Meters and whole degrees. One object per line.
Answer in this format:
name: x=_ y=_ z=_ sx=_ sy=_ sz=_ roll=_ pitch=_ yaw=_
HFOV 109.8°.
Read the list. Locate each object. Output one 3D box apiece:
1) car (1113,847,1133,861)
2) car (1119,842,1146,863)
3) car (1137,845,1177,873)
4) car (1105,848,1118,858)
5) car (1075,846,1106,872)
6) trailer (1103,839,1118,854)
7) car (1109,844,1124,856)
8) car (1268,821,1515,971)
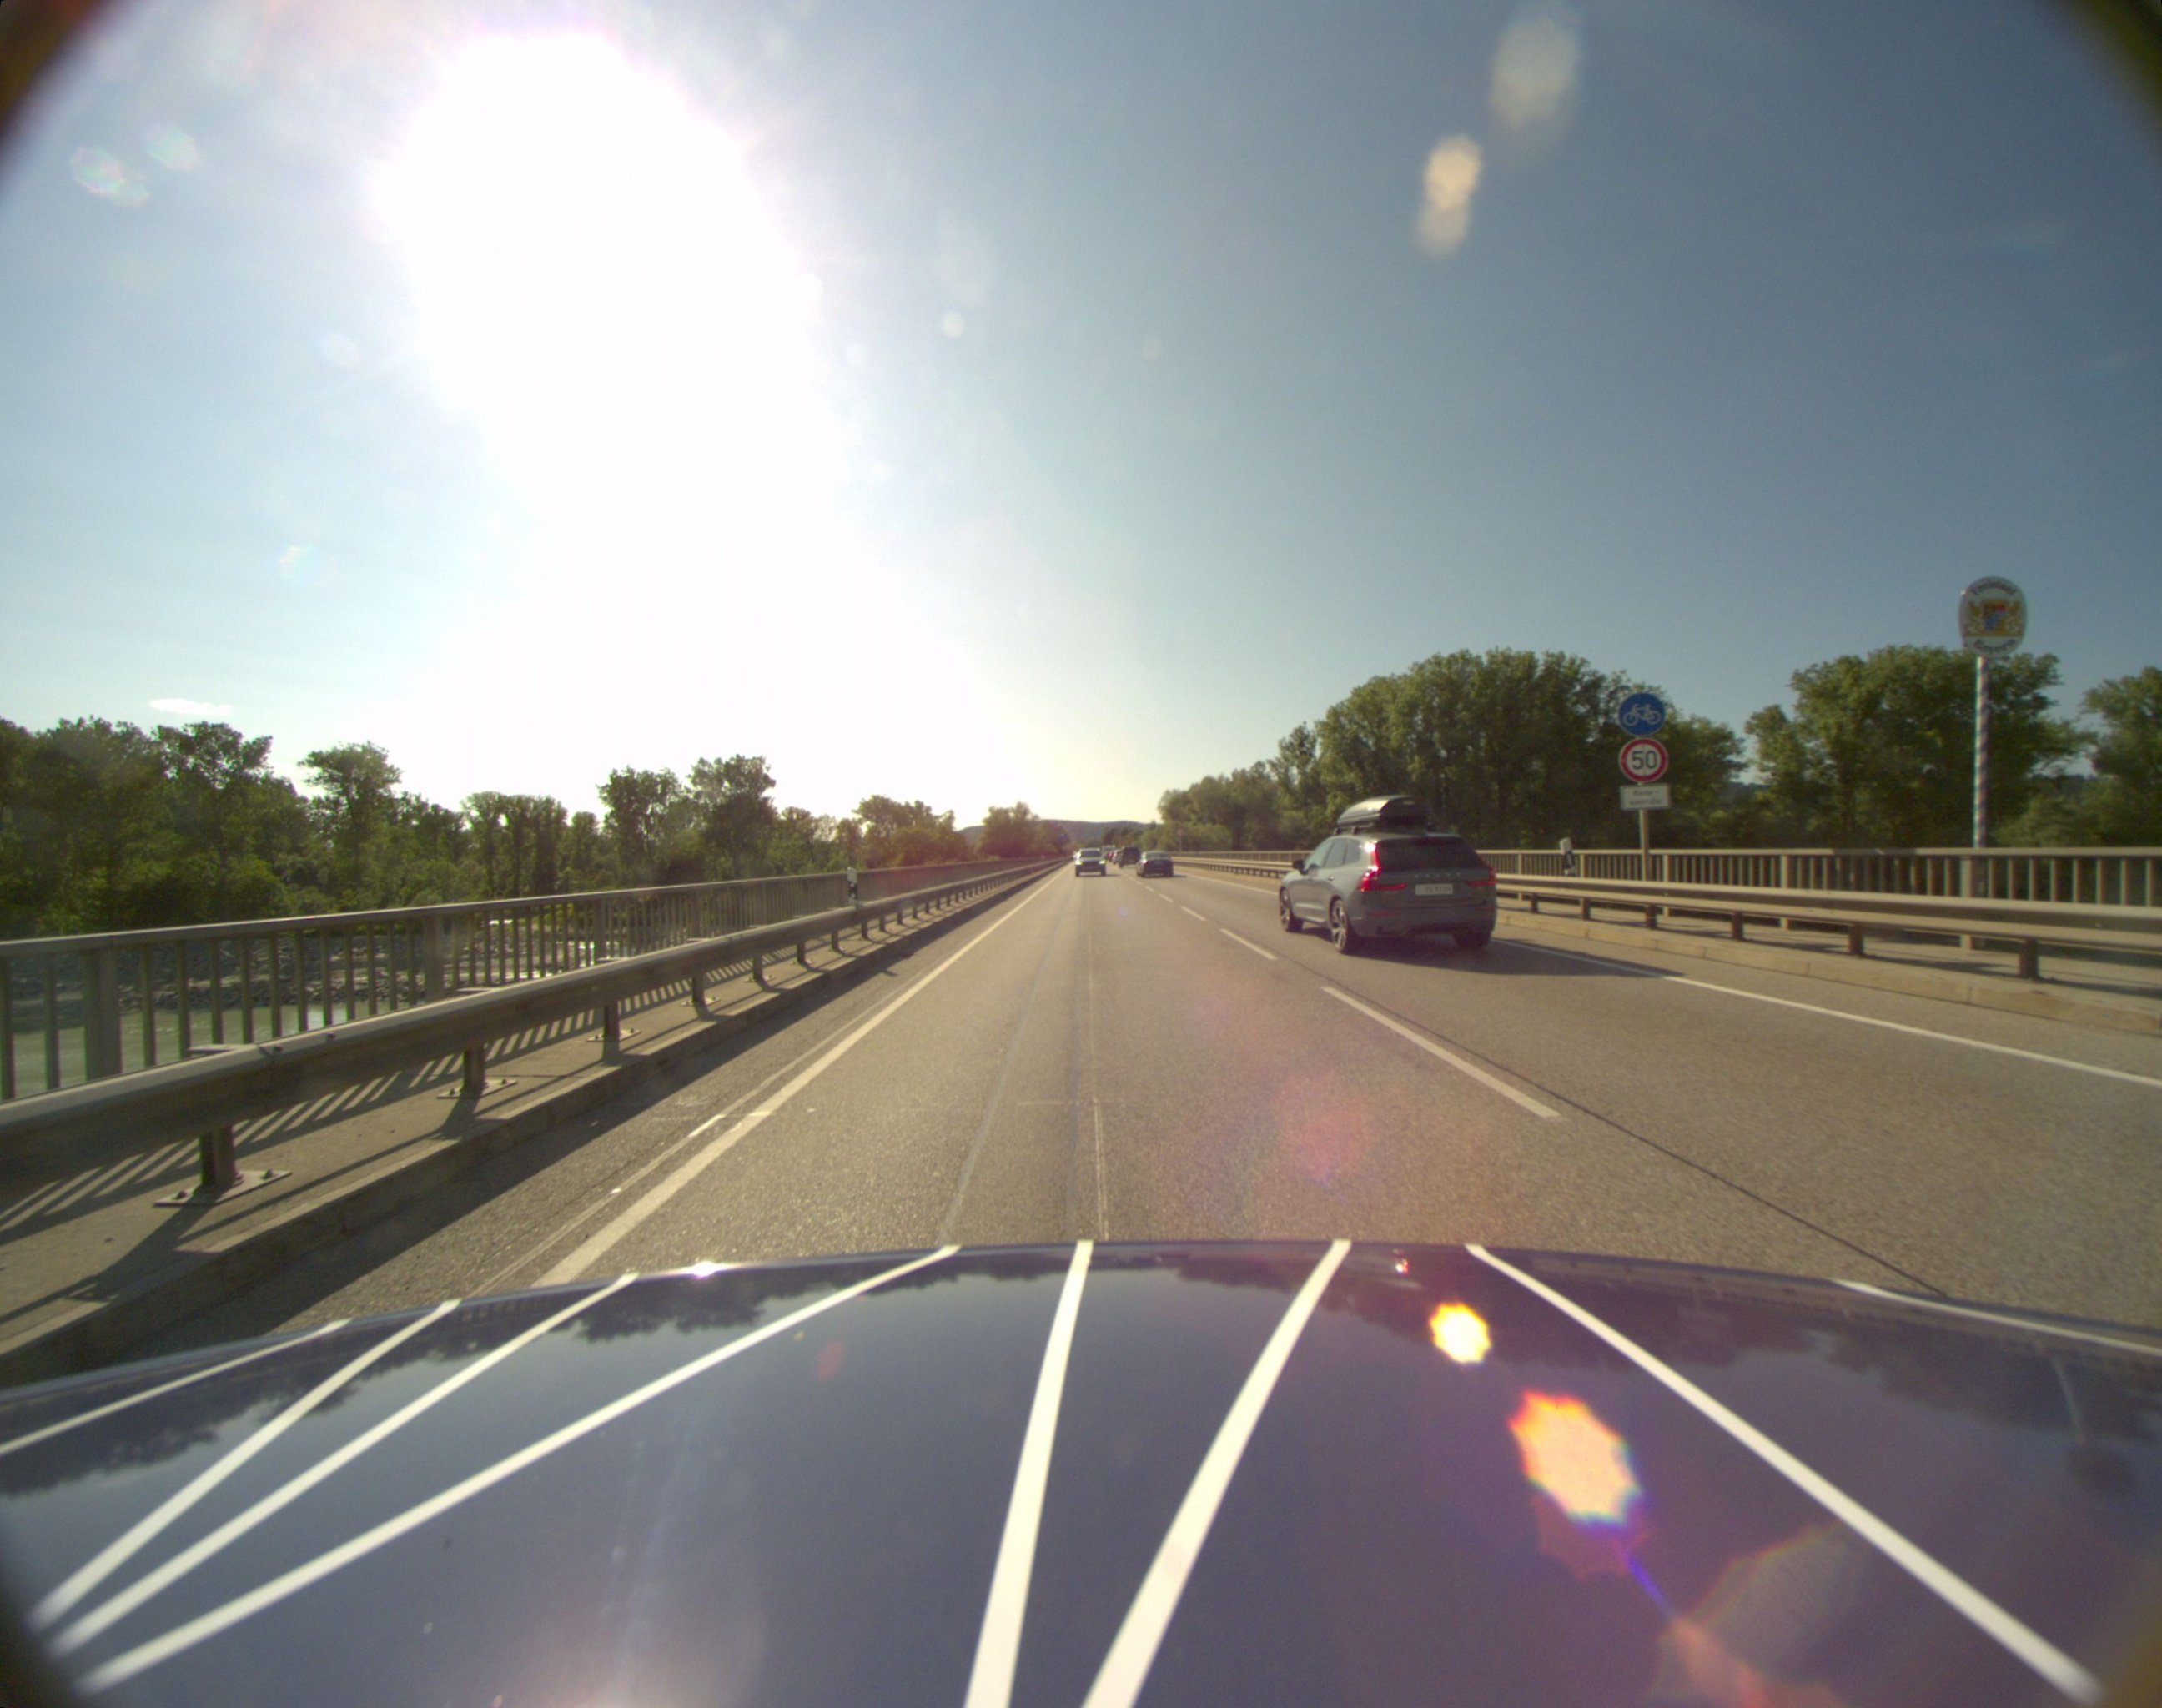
car: x=5.007 y=-0.011 z=91.606 sx=1.988 sy=1.641 sz=4.597 roll=-2 pitch=0 yaw=-1
car: x=4.643 y=-0.139 z=69.492 sx=2.042 sy=1.863 sz=5.069 roll=-1 pitch=0 yaw=0
car: x=4.237 y=0.238 z=42.964 sx=1.770 sy=1.439 sz=4.456 roll=-3 pitch=1 yaw=0
car: x=5.136 y=-0.162 z=128.529 sx=1.807 sy=1.651 sz=4.432 roll=-1 pitch=0 yaw=0
car: x=0.656 y=0.303 z=50.969 sx=1.871 sy=1.599 sz=4.379 roll=-3 pitch=1 yaw=1
trailer: x=5.556 y=-1.488 z=144.571 sx=2.561 sy=2.722 sz=8.062 roll=-3 pitch=1 yaw=1
car: x=5.330 y=-0.592 z=113.243 sx=1.954 sy=1.684 sz=4.476 roll=-3 pitch=1 yaw=0
car: x=4.288 y=0.482 z=11.394 sx=1.859 sy=1.712 sz=4.565 roll=-3 pitch=1 yaw=1
